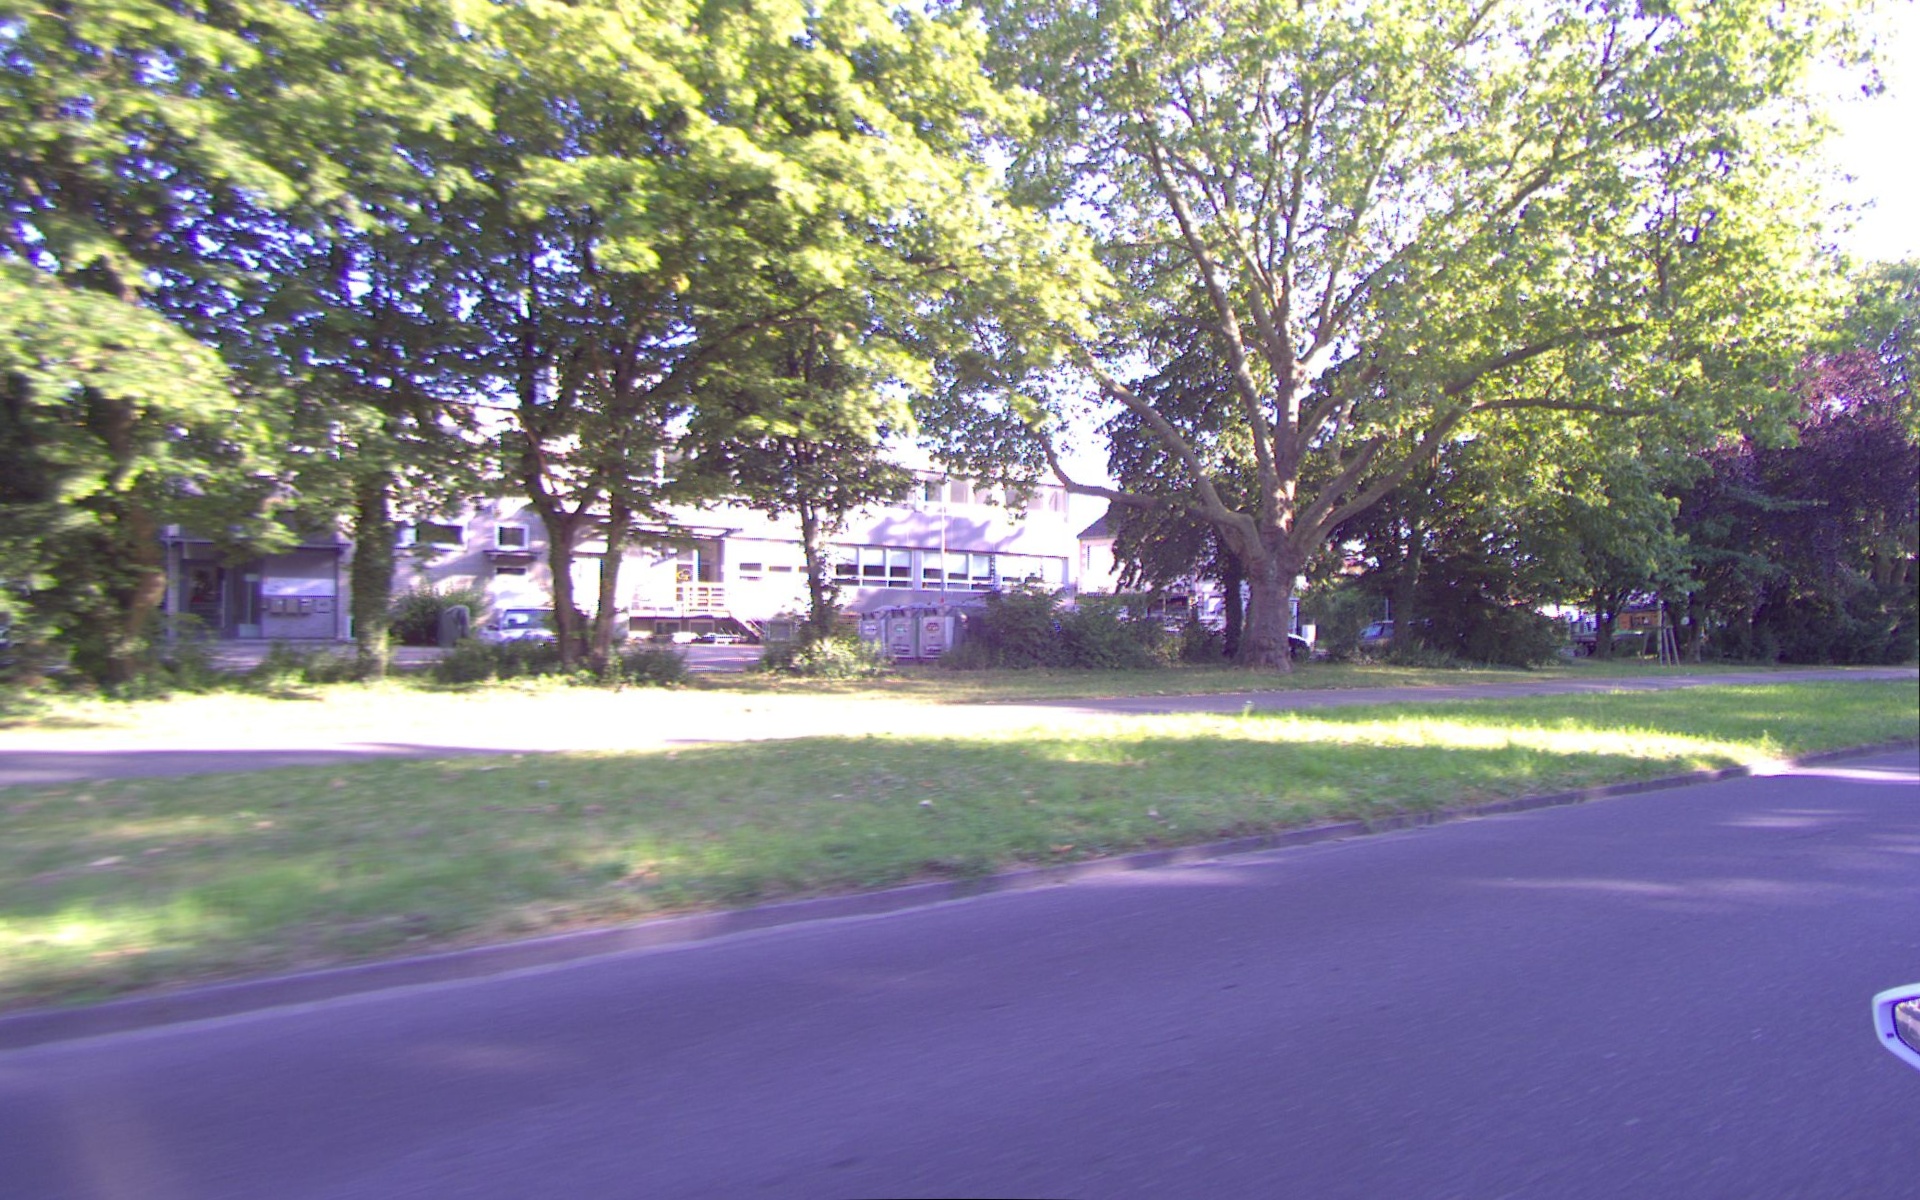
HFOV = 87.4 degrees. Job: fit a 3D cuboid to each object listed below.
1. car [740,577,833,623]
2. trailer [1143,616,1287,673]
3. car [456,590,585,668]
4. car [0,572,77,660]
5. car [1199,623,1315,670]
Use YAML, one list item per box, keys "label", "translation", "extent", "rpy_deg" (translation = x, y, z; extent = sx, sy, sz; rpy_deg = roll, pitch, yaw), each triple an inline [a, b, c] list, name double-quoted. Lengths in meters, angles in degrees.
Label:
- label: "car"
  translation: [-6.784, 0.027, 38.913]
  extent: [1.912, 1.622, 3.957]
  rpy_deg: [3, -2, -37]
- label: "trailer"
  translation: [7.738, 1.327, 30.798]
  extent: [1.980, 1.576, 3.962]
  rpy_deg: [2, -1, -34]
- label: "car"
  translation: [-9.367, 0.687, 21.259]
  extent: [1.750, 1.483, 3.705]
  rpy_deg: [2, -5, -36]
- label: "car"
  translation: [-23.789, 0.336, 25.075]
  extent: [1.980, 2.040, 4.516]
  rpy_deg: [3, -1, -34]
- label: "car"
  translation: [9.564, 1.474, 32.492]
  extent: [1.505, 1.382, 3.362]
  rpy_deg: [3, -2, -37]
